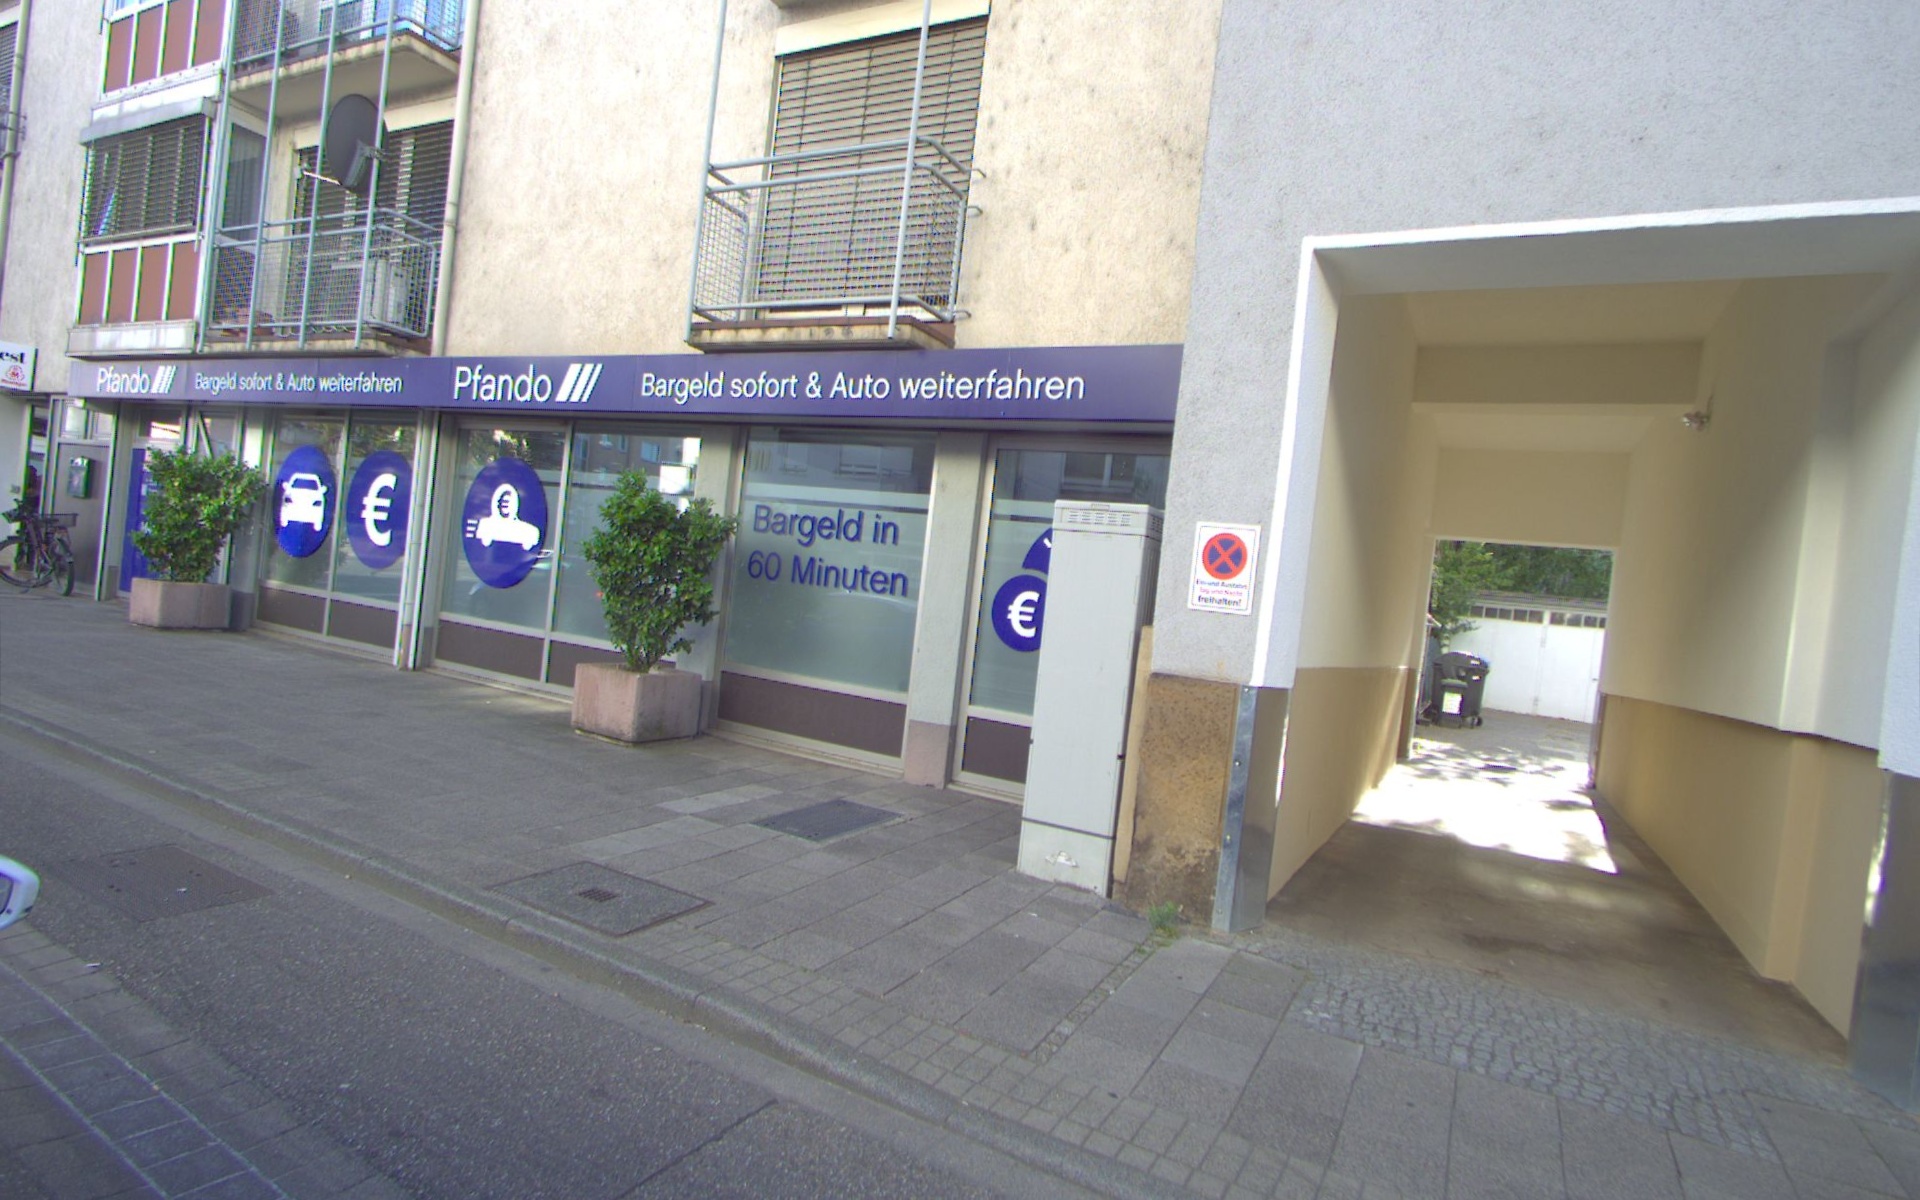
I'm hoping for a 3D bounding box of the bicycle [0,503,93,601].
[{"bbox_3d":[-11.873,-0.642,12.869,1.779,1.086,0.531,7,1,28],"label":"bicycle"}]
